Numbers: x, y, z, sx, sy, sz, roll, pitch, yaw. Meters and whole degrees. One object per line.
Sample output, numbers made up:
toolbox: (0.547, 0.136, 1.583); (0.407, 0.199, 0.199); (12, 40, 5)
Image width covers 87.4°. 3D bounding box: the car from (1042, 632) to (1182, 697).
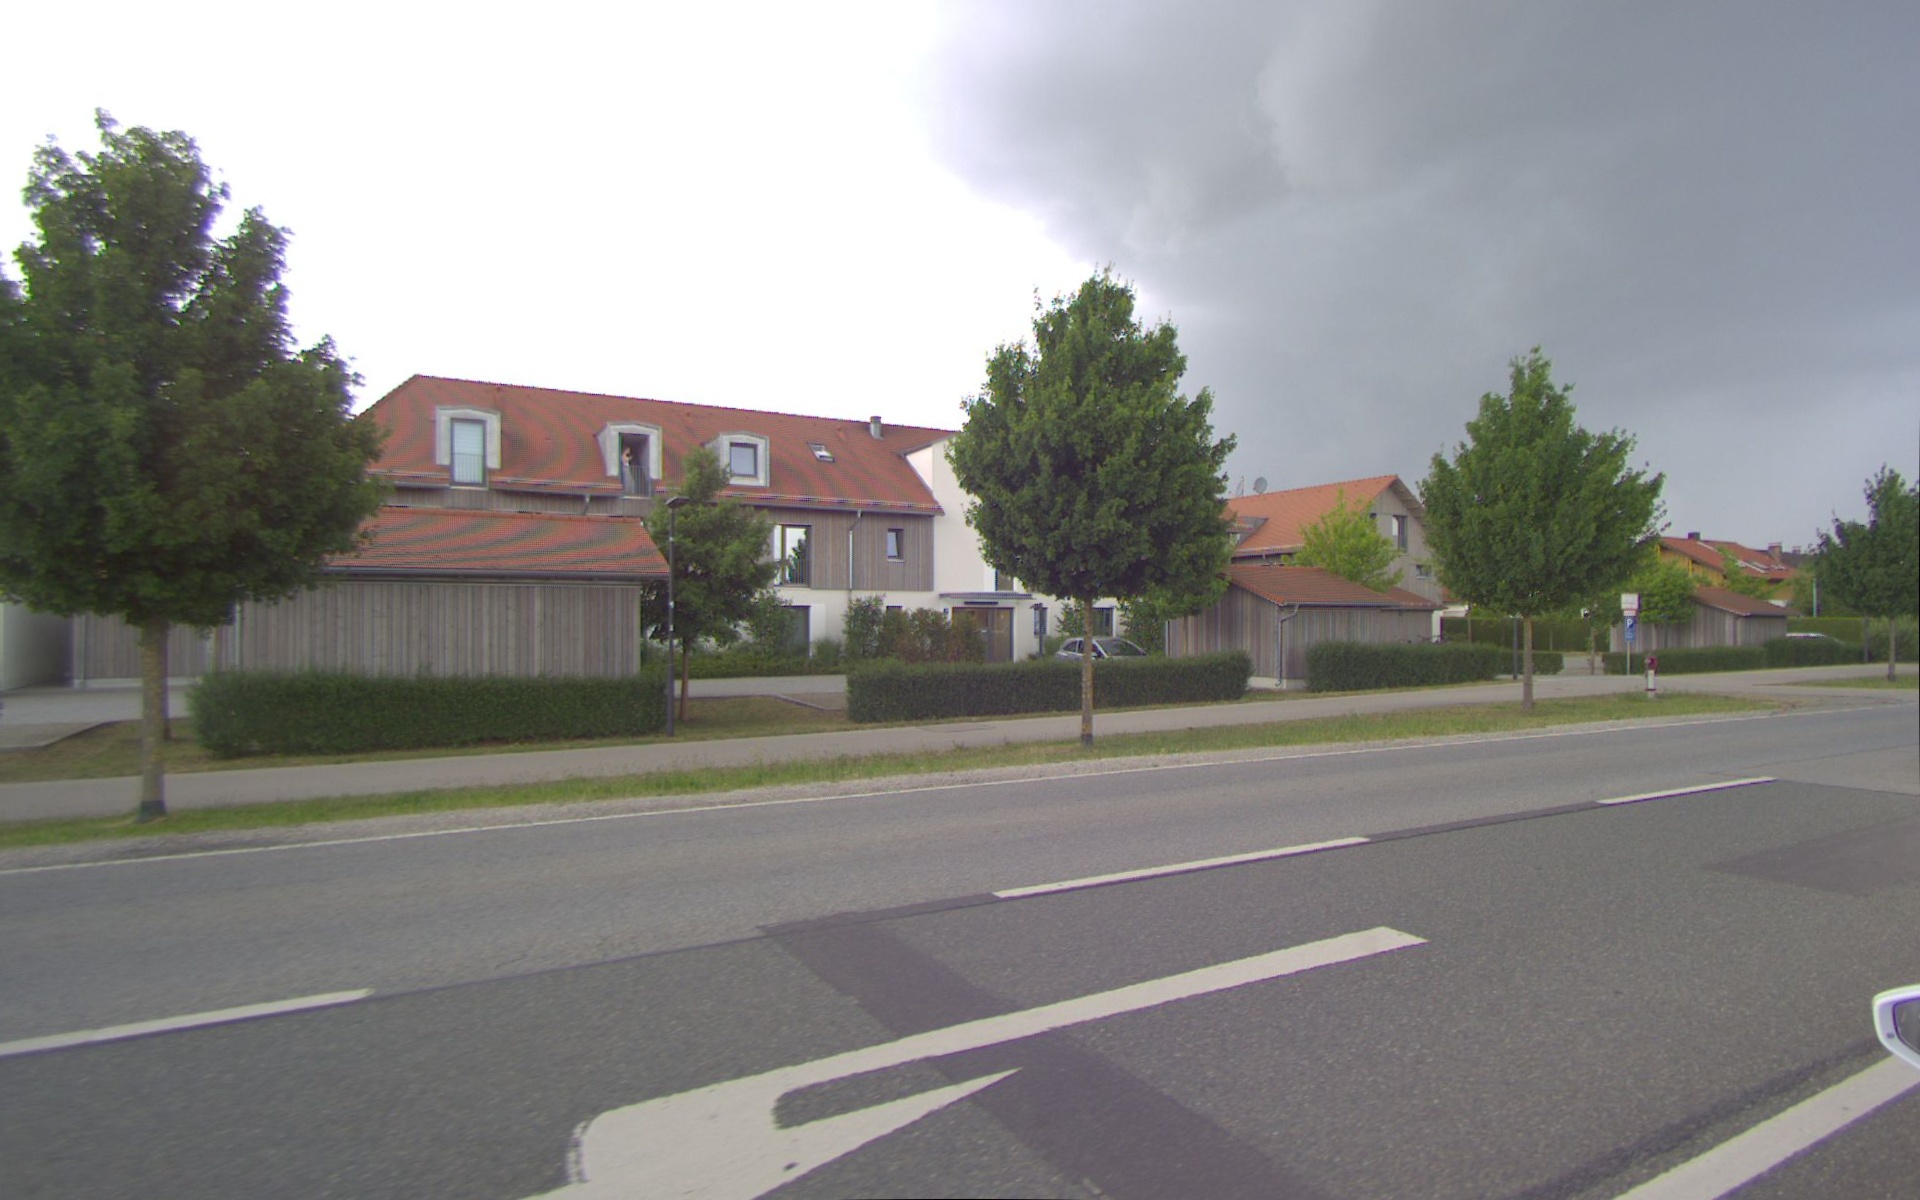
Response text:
car: (4.237, 1.772, 28.623); (1.975, 1.577, 3.971); (0, 0, -28)
